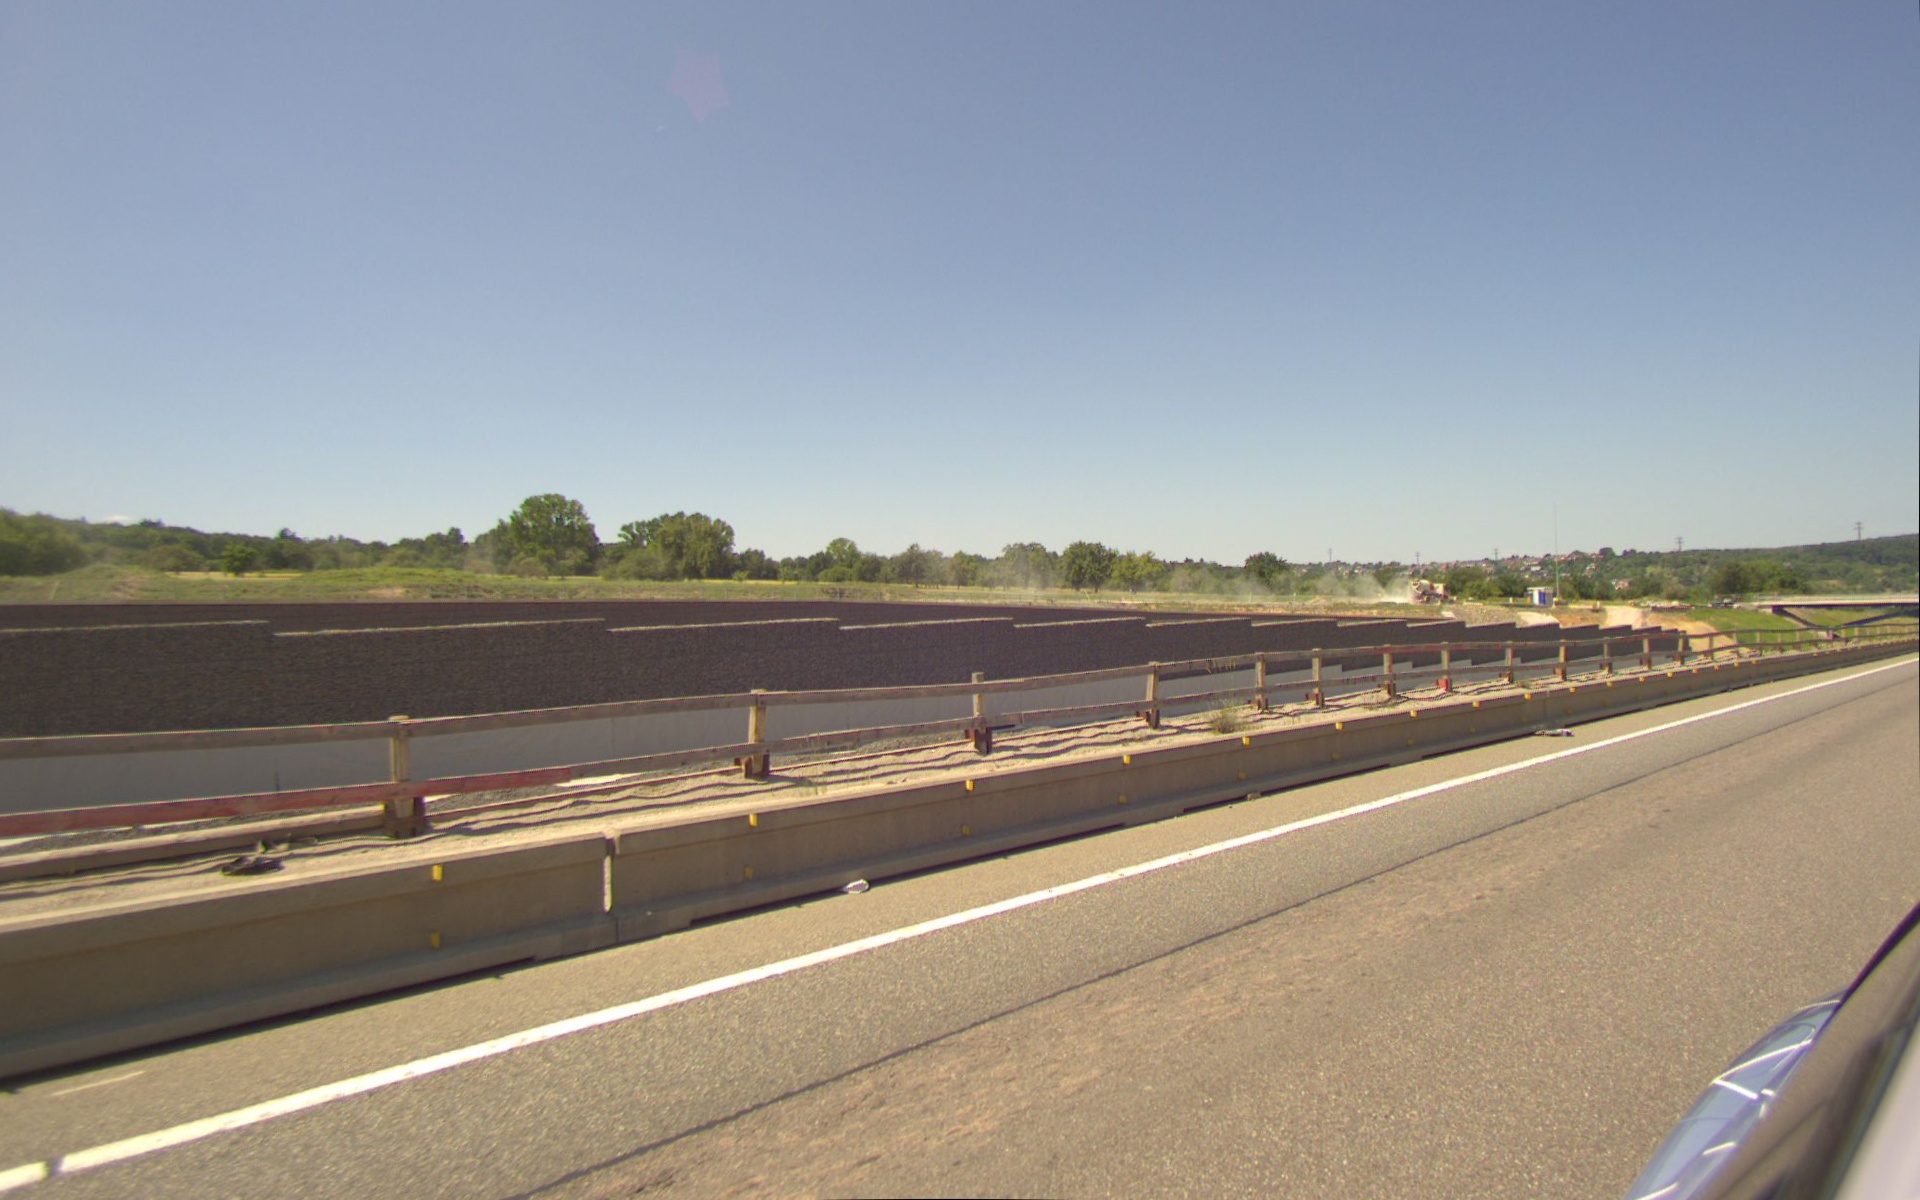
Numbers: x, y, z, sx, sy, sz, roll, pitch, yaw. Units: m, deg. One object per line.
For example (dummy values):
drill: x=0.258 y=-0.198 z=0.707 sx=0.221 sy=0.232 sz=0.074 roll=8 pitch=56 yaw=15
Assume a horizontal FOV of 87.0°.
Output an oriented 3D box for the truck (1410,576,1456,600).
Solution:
truck: x=74.565 y=-1.875 z=159.482 sx=8.598 sy=3.510 sz=3.154 roll=0 pitch=-2 yaw=-39
